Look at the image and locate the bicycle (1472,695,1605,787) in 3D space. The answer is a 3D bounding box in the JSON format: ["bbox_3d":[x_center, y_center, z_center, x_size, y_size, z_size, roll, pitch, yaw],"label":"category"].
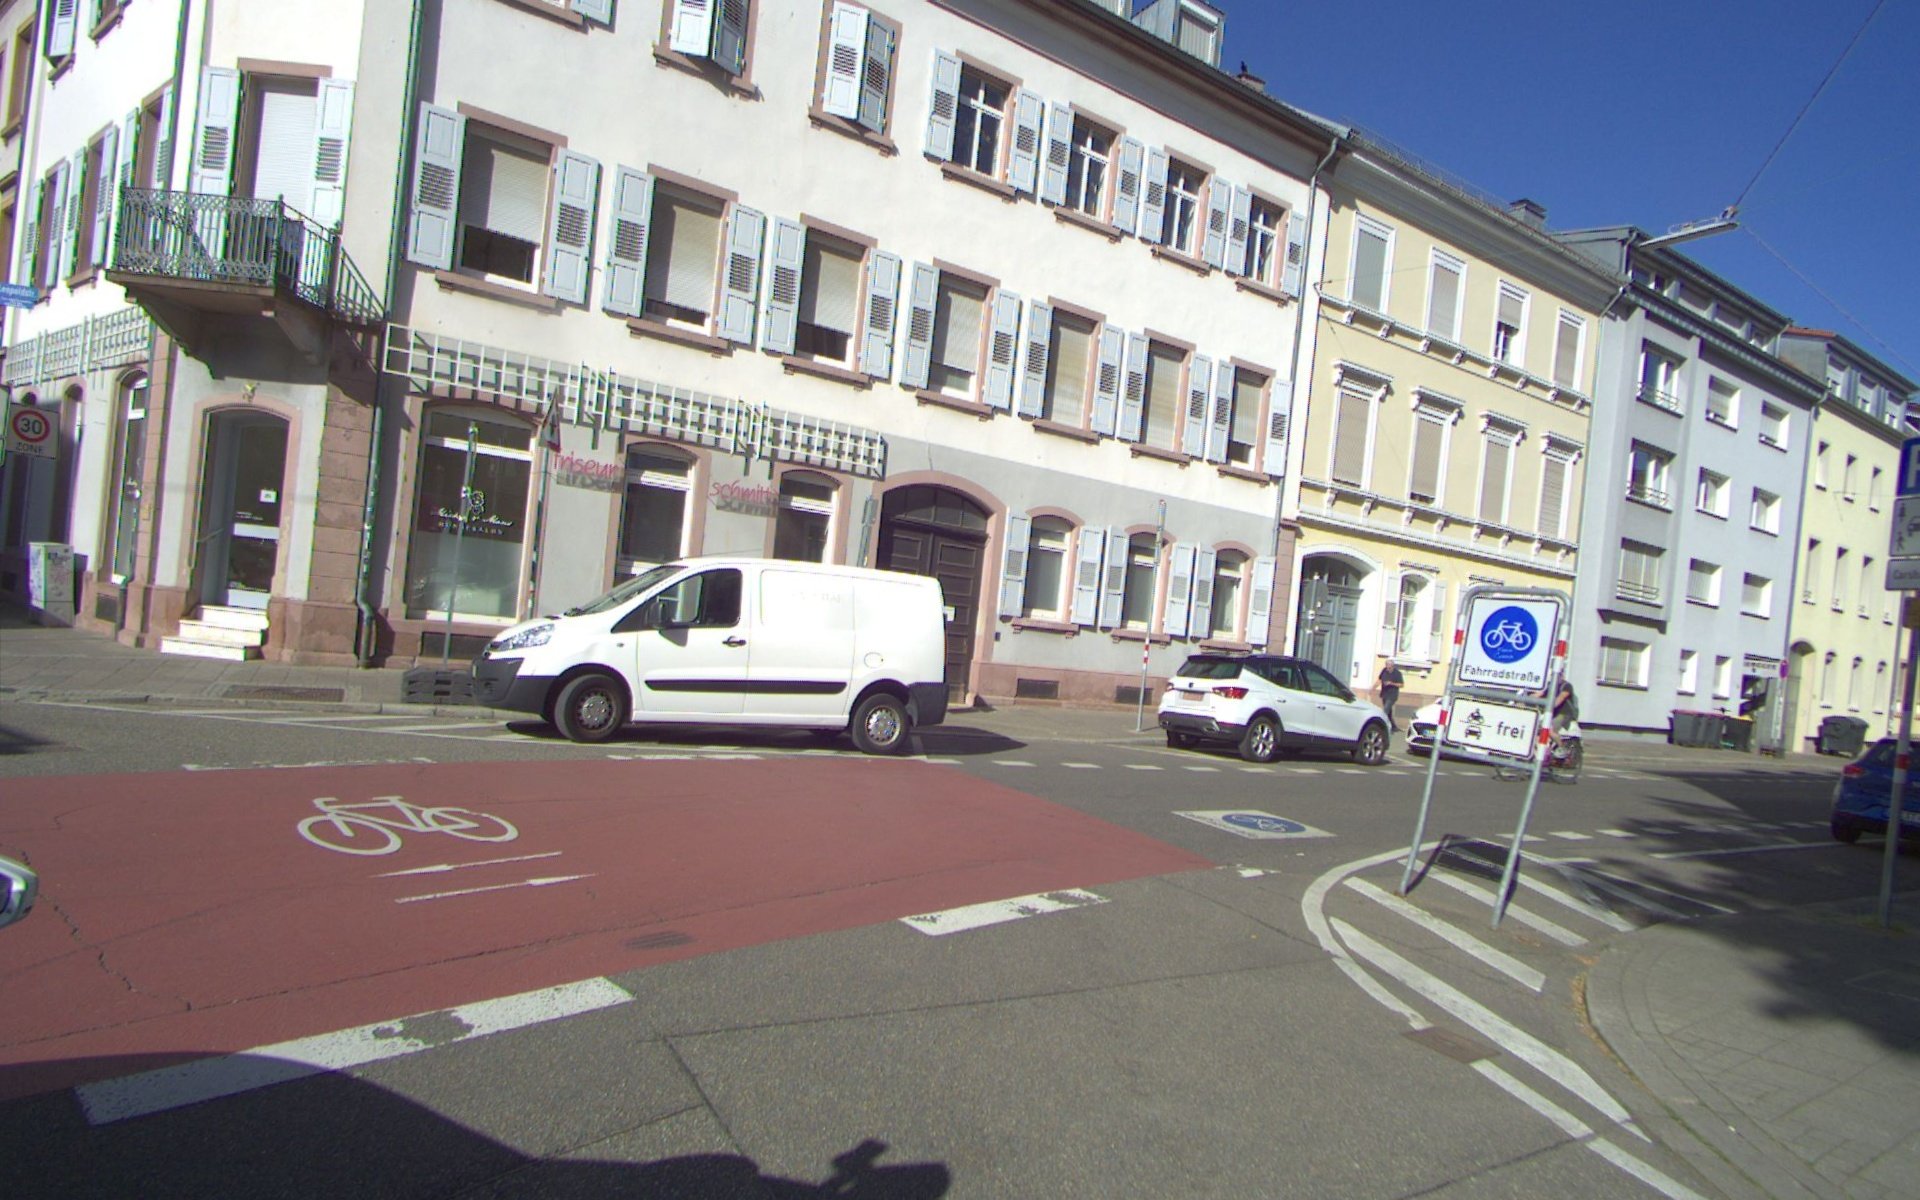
[{"bbox_3d":[8.935,2.173,15.524,1.899,1.214,0.669,7,0,-22],"label":"bicycle"}]

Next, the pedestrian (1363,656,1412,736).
[{"bbox_3d":[9.235,2.071,21.755,0.632,1.620,0.580,6,0,-31],"label":"pedestrian"}]

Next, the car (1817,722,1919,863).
[{"bbox_3d":[12.563,2.441,12.554,3.599,1.452,1.692,6,2,-32],"label":"car"}]

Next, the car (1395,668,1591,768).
[{"bbox_3d":[10.168,2.266,19.144,3.601,1.559,1.620,7,-2,-32],"label":"car"}]

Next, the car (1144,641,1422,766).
[{"bbox_3d":[5.108,1.642,15.701,4.337,1.559,1.633,7,-2,-32],"label":"car"}]

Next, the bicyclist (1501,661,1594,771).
[{"bbox_3d":[9.066,1.786,15.542,1.011,1.565,0.635,6,0,-22],"label":"bicyclist"}]

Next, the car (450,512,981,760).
[{"bbox_3d":[-2.508,0.467,10.645,4.968,1.969,2.036,7,-1,-29],"label":"car"}]
